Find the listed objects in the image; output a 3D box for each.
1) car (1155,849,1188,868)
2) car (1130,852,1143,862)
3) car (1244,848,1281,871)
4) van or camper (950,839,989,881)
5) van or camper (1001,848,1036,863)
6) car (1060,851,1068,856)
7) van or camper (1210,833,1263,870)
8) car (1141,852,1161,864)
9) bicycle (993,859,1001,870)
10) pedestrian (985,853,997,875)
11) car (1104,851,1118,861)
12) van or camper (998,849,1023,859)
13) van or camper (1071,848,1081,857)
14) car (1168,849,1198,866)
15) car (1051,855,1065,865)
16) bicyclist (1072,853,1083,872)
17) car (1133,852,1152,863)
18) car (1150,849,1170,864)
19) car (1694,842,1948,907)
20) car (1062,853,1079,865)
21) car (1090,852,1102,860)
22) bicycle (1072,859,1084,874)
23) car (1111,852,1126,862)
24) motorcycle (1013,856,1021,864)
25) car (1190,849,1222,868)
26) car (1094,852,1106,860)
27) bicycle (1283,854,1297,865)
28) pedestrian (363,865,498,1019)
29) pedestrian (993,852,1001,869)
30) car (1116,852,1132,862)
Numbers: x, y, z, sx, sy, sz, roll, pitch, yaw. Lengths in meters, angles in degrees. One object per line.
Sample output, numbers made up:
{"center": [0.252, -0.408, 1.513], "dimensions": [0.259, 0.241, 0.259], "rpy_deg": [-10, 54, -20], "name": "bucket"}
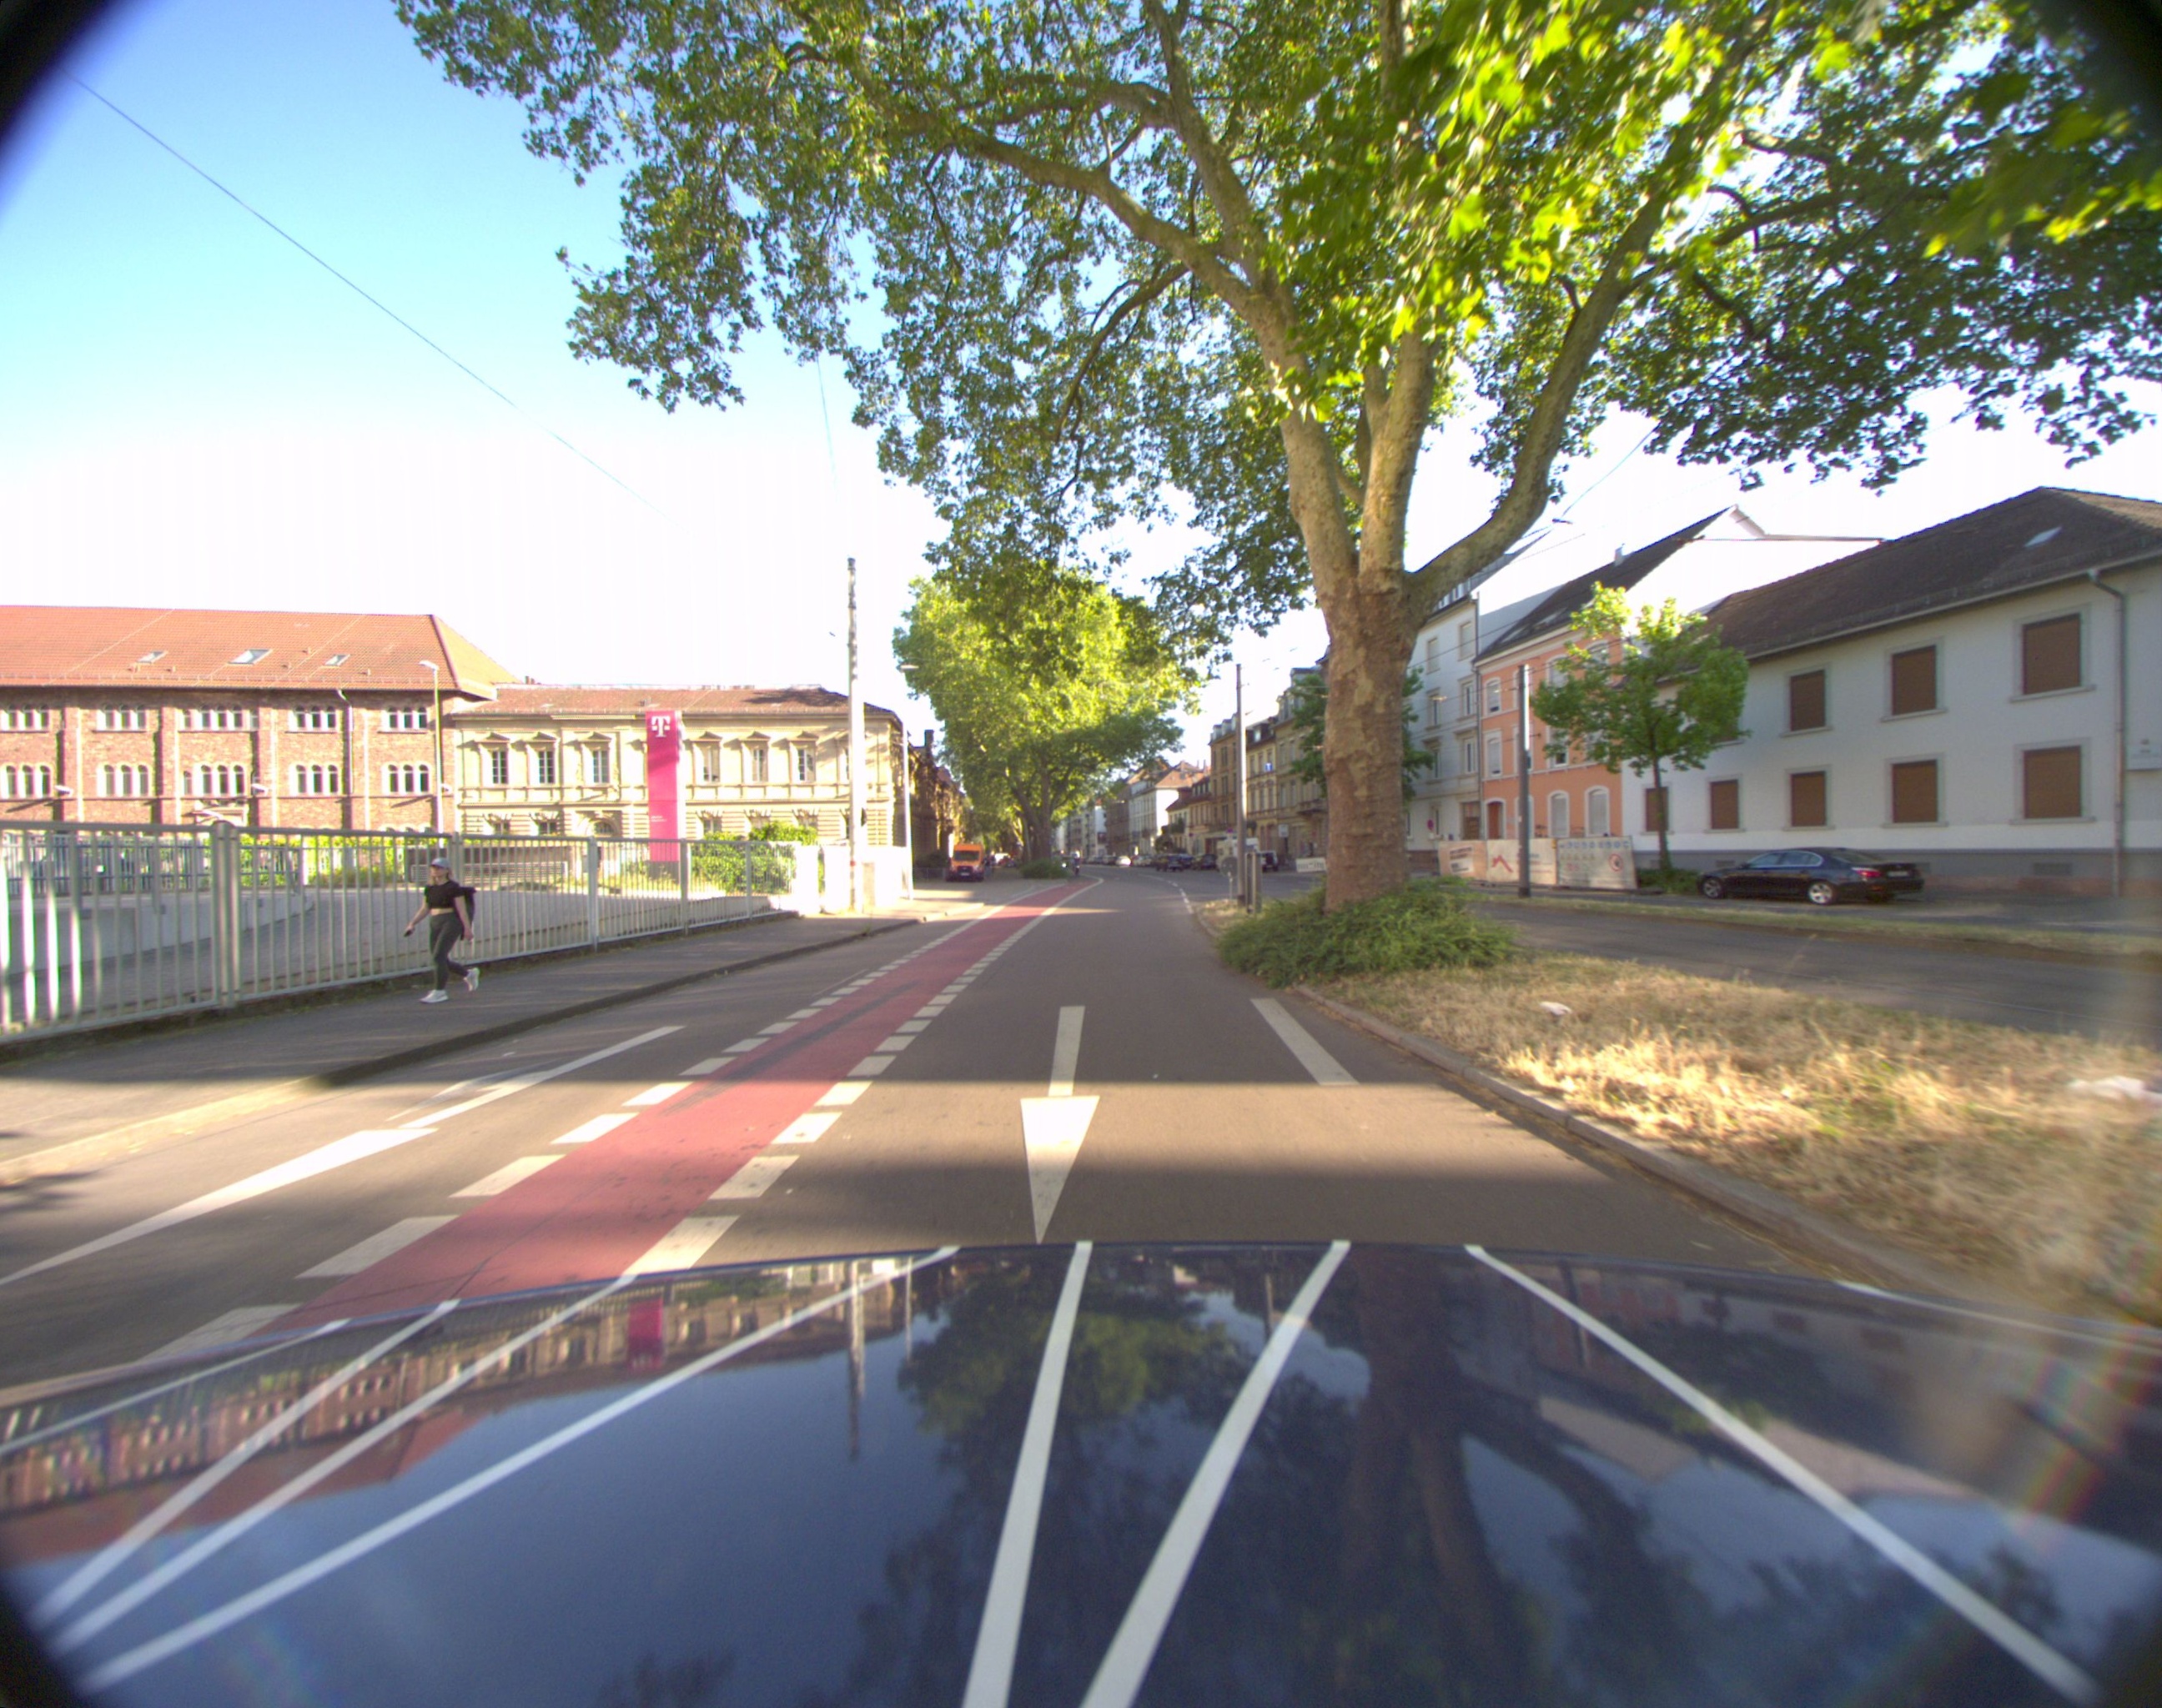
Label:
{"center": [8.415, 0.417, 70.682], "dimensions": [2.000, 1.679, 4.306], "rpy_deg": [-1, 0, -8], "name": "car"}
{"center": [8.093, 0.431, 111.554], "dimensions": [1.422, 1.502, 3.324], "rpy_deg": [-3, 1, -4], "name": "car"}
{"center": [14.557, 0.393, 61.054], "dimensions": [1.636, 1.696, 3.368], "rpy_deg": [-4, 1, -9], "name": "car"}
{"center": [-7.185, 0.364, 49.528], "dimensions": [2.042, 2.544, 5.770], "rpy_deg": [-1, 0, -4], "name": "van or camper"}
{"center": [-10.711, 0.236, 130.320], "dimensions": [5.932, 2.484, 2.218], "rpy_deg": [-1, 3, -8], "name": "van or camper"}
{"center": [-5.085, -0.196, 223.697], "dimensions": [1.809, 1.534, 3.916], "rpy_deg": [-3, 1, -8], "name": "car"}
{"center": [13.633, -0.230, 67.190], "dimensions": [2.426, 2.930, 7.247], "rpy_deg": [-5, 1, -5], "name": "van or camper"}
{"center": [9.203, 0.470, 100.809], "dimensions": [1.668, 1.446, 4.401], "rpy_deg": [-4, 1, -7], "name": "car"}
{"center": [-7.998, 0.983, 72.218], "dimensions": [0.677, 1.026, 1.899], "rpy_deg": [1, 1, -8], "name": "bicycle"}
{"center": [-6.966, 0.770, 58.752], "dimensions": [0.653, 1.726, 1.005], "rpy_deg": [-1, 1, -23], "name": "pedestrian"}
{"center": [5.240, 0.358, 132.123], "dimensions": [1.799, 1.630, 4.251], "rpy_deg": [-3, 0, -7], "name": "car"}
{"center": [-17.735, -0.006, 190.044], "dimensions": [6.102, 2.417, 2.426], "rpy_deg": [-1, 1, -6], "name": "van or camper"}
{"center": [-1.318, -0.352, 188.261], "dimensions": [1.946, 2.267, 4.595], "rpy_deg": [-3, 1, -7], "name": "van or camper"}
{"center": [11.285, 0.410, 84.397], "dimensions": [2.000, 1.693, 4.747], "rpy_deg": [-5, 1, -7], "name": "car"}
{"center": [-3.479, 0.934, 113.207], "dimensions": [1.741, 1.365, 3.916], "rpy_deg": [-3, 0, -7], "name": "car"}
{"center": [-0.285, 0.671, 59.244], "dimensions": [0.715, 1.435, 0.953], "rpy_deg": [-1, 1, -6], "name": "bicyclist"}
{"center": [8.567, 0.494, 106.167], "dimensions": [1.587, 1.482, 4.467], "rpy_deg": [-3, 0, -7], "name": "car"}
{"center": [10.012, 0.297, 96.444], "dimensions": [1.729, 1.736, 3.623], "rpy_deg": [-4, 1, -6], "name": "car"}
{"center": [19.691, 0.486, 20.585], "dimensions": [2.000, 1.505, 4.722], "rpy_deg": [-1, 0, -7], "name": "car"}
{"center": [-1.425, 0.660, 99.687], "dimensions": [1.741, 1.365, 3.916], "rpy_deg": [-3, 0, -7], "name": "car"}
{"center": [3.071, 0.362, 152.338], "dimensions": [1.799, 1.617, 4.081], "rpy_deg": [-3, 1, -7], "name": "car"}
{"center": [-0.271, 0.989, 59.198], "dimensions": [0.715, 1.131, 2.119], "rpy_deg": [-1, 0, -6], "name": "bicycle"}
{"center": [6.184, 0.464, 126.895], "dimensions": [1.799, 1.587, 4.081], "rpy_deg": [-3, 1, -7], "name": "car"}
{"center": [-9.283, 0.883, 110.050], "dimensions": [1.274, 1.048, 0.394], "rpy_deg": [-1, 1, -43], "name": "motorcycle"}
{"center": [12.575, 0.425, 76.642], "dimensions": [1.816, 1.695, 4.440], "rpy_deg": [-5, 1, -7], "name": "car"}
{"center": [3.686, 0.436, 147.075], "dimensions": [1.799, 1.368, 4.081], "rpy_deg": [-3, 0, -7], "name": "car"}
{"center": [18.019, 0.430, 65.407], "dimensions": [0.580, 0.919, 1.791], "rpy_deg": [-1, 0, -4], "name": "bicycle"}
{"center": [-7.512, 0.981, 8.819], "dimensions": [0.697, 1.674, 0.930], "rpy_deg": [-1, 1, 4], "name": "pedestrian"}
{"center": [-8.000, 0.601, 72.177], "dimensions": [0.671, 1.610, 1.101], "rpy_deg": [1, 1, -8], "name": "pedestrian"}
{"center": [6.856, 0.516, 121.718], "dimensions": [1.869, 1.423, 4.081], "rpy_deg": [-3, 0, -7], "name": "car"}
